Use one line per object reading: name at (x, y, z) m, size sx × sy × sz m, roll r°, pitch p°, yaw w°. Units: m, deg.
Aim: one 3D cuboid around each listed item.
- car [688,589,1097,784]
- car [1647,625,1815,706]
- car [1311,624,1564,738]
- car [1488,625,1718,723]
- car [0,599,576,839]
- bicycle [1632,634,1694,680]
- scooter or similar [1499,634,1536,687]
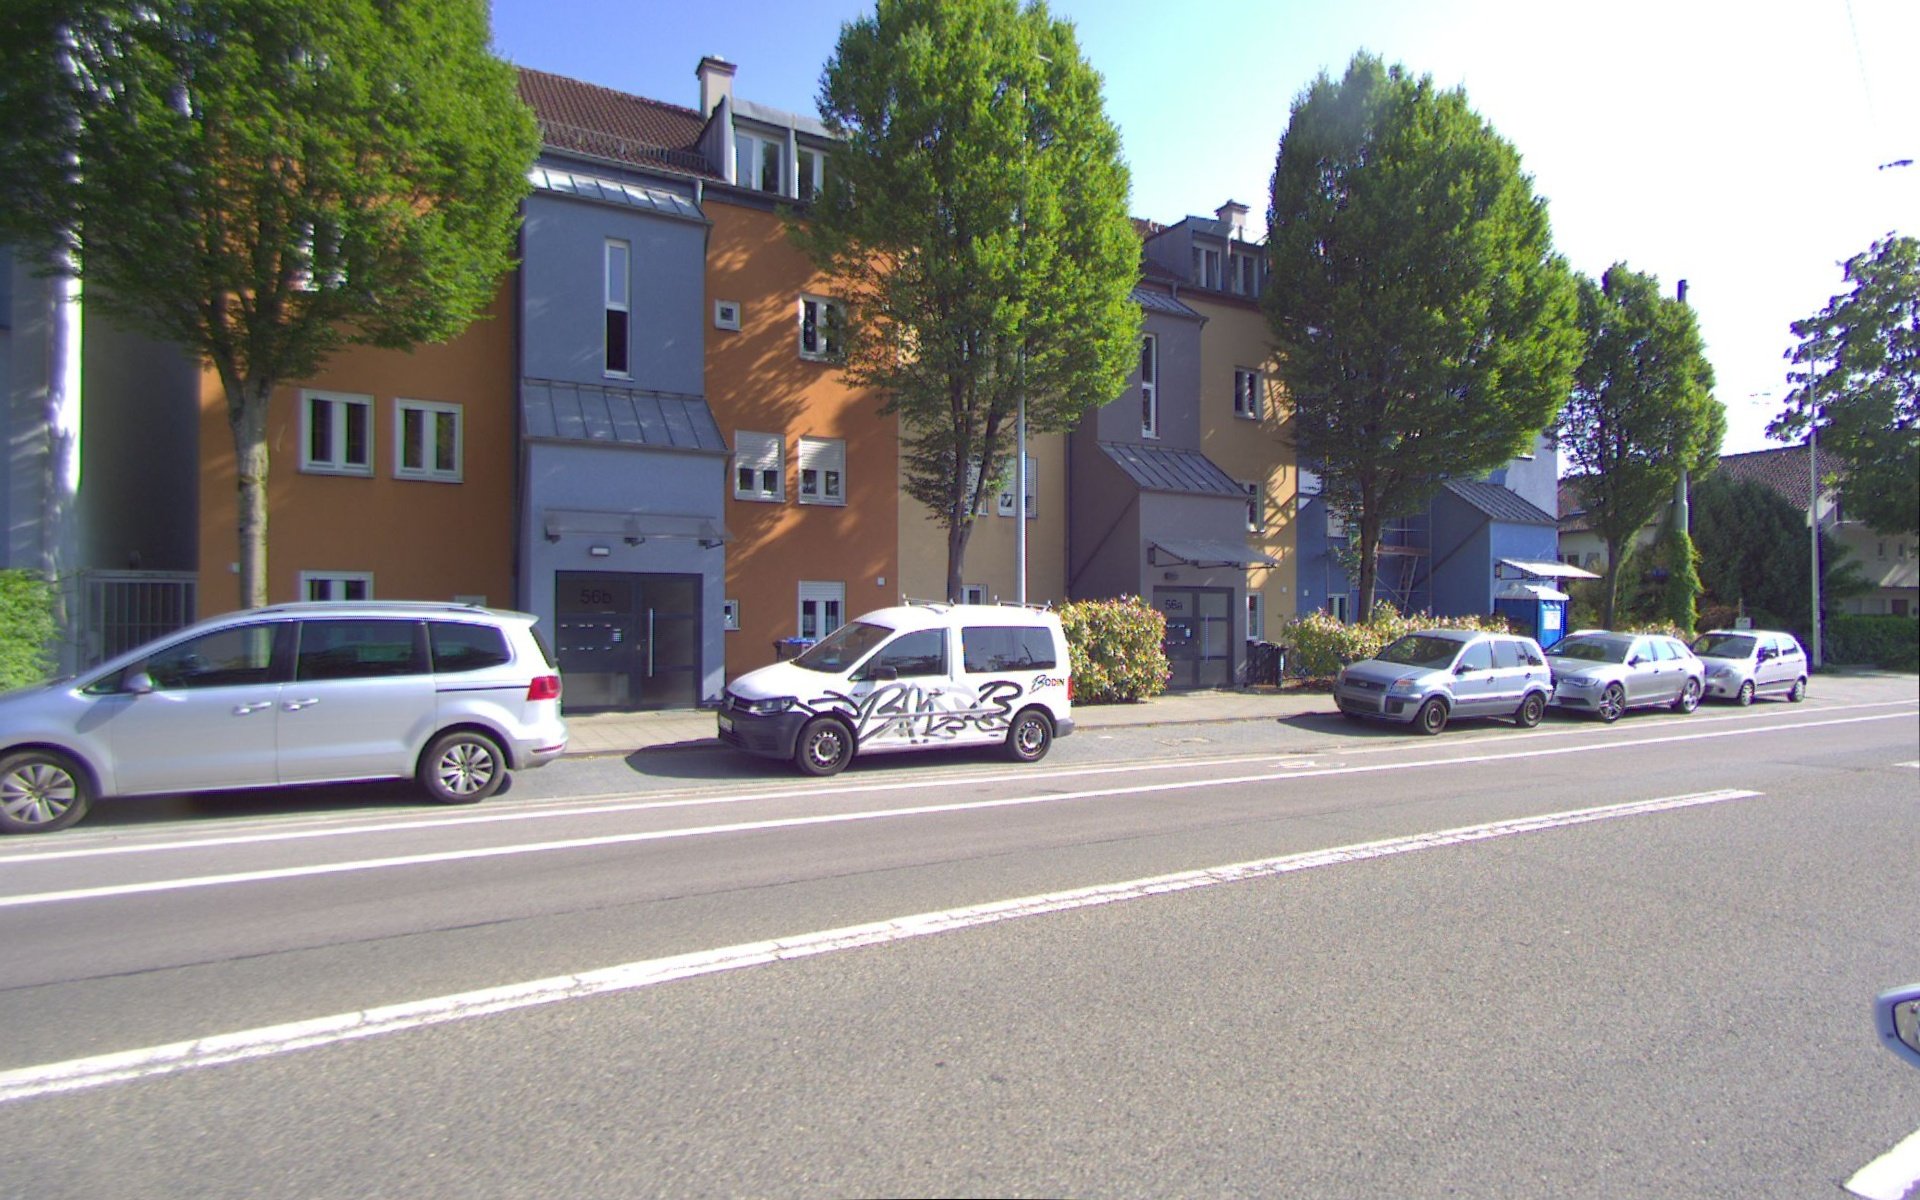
car at (-0.730, 0.894, 11.972) m, size 4.526 × 1.871 × 1.754 m, roll 1°, pitch 3°, yaw -31°
car at (16.727, 1.364, 21.783) m, size 3.467 × 1.515 × 1.594 m, roll 1°, pitch 3°, yaw -29°
car at (7.944, 1.253, 16.667) m, size 3.932 × 1.560 × 1.755 m, roll 1°, pitch 3°, yaw -28°
car at (12.217, 1.309, 19.004) m, size 4.701 × 1.531 × 1.739 m, roll 1°, pitch 3°, yaw -32°
car at (-6.017, 0.894, 8.817) m, size 4.765 × 1.723 × 1.661 m, roll 1°, pitch 1°, yaw -29°
bicycle at (18.368, 1.479, 26.228) m, size 1.758 × 1.169 × 0.442 m, roll 1°, pitch -1°, yaw -22°
scooter or similar at (12.576, 1.350, 22.652) m, size 1.032 × 1.169 × 0.292 m, roll 1°, pitch -1°, yaw -33°
